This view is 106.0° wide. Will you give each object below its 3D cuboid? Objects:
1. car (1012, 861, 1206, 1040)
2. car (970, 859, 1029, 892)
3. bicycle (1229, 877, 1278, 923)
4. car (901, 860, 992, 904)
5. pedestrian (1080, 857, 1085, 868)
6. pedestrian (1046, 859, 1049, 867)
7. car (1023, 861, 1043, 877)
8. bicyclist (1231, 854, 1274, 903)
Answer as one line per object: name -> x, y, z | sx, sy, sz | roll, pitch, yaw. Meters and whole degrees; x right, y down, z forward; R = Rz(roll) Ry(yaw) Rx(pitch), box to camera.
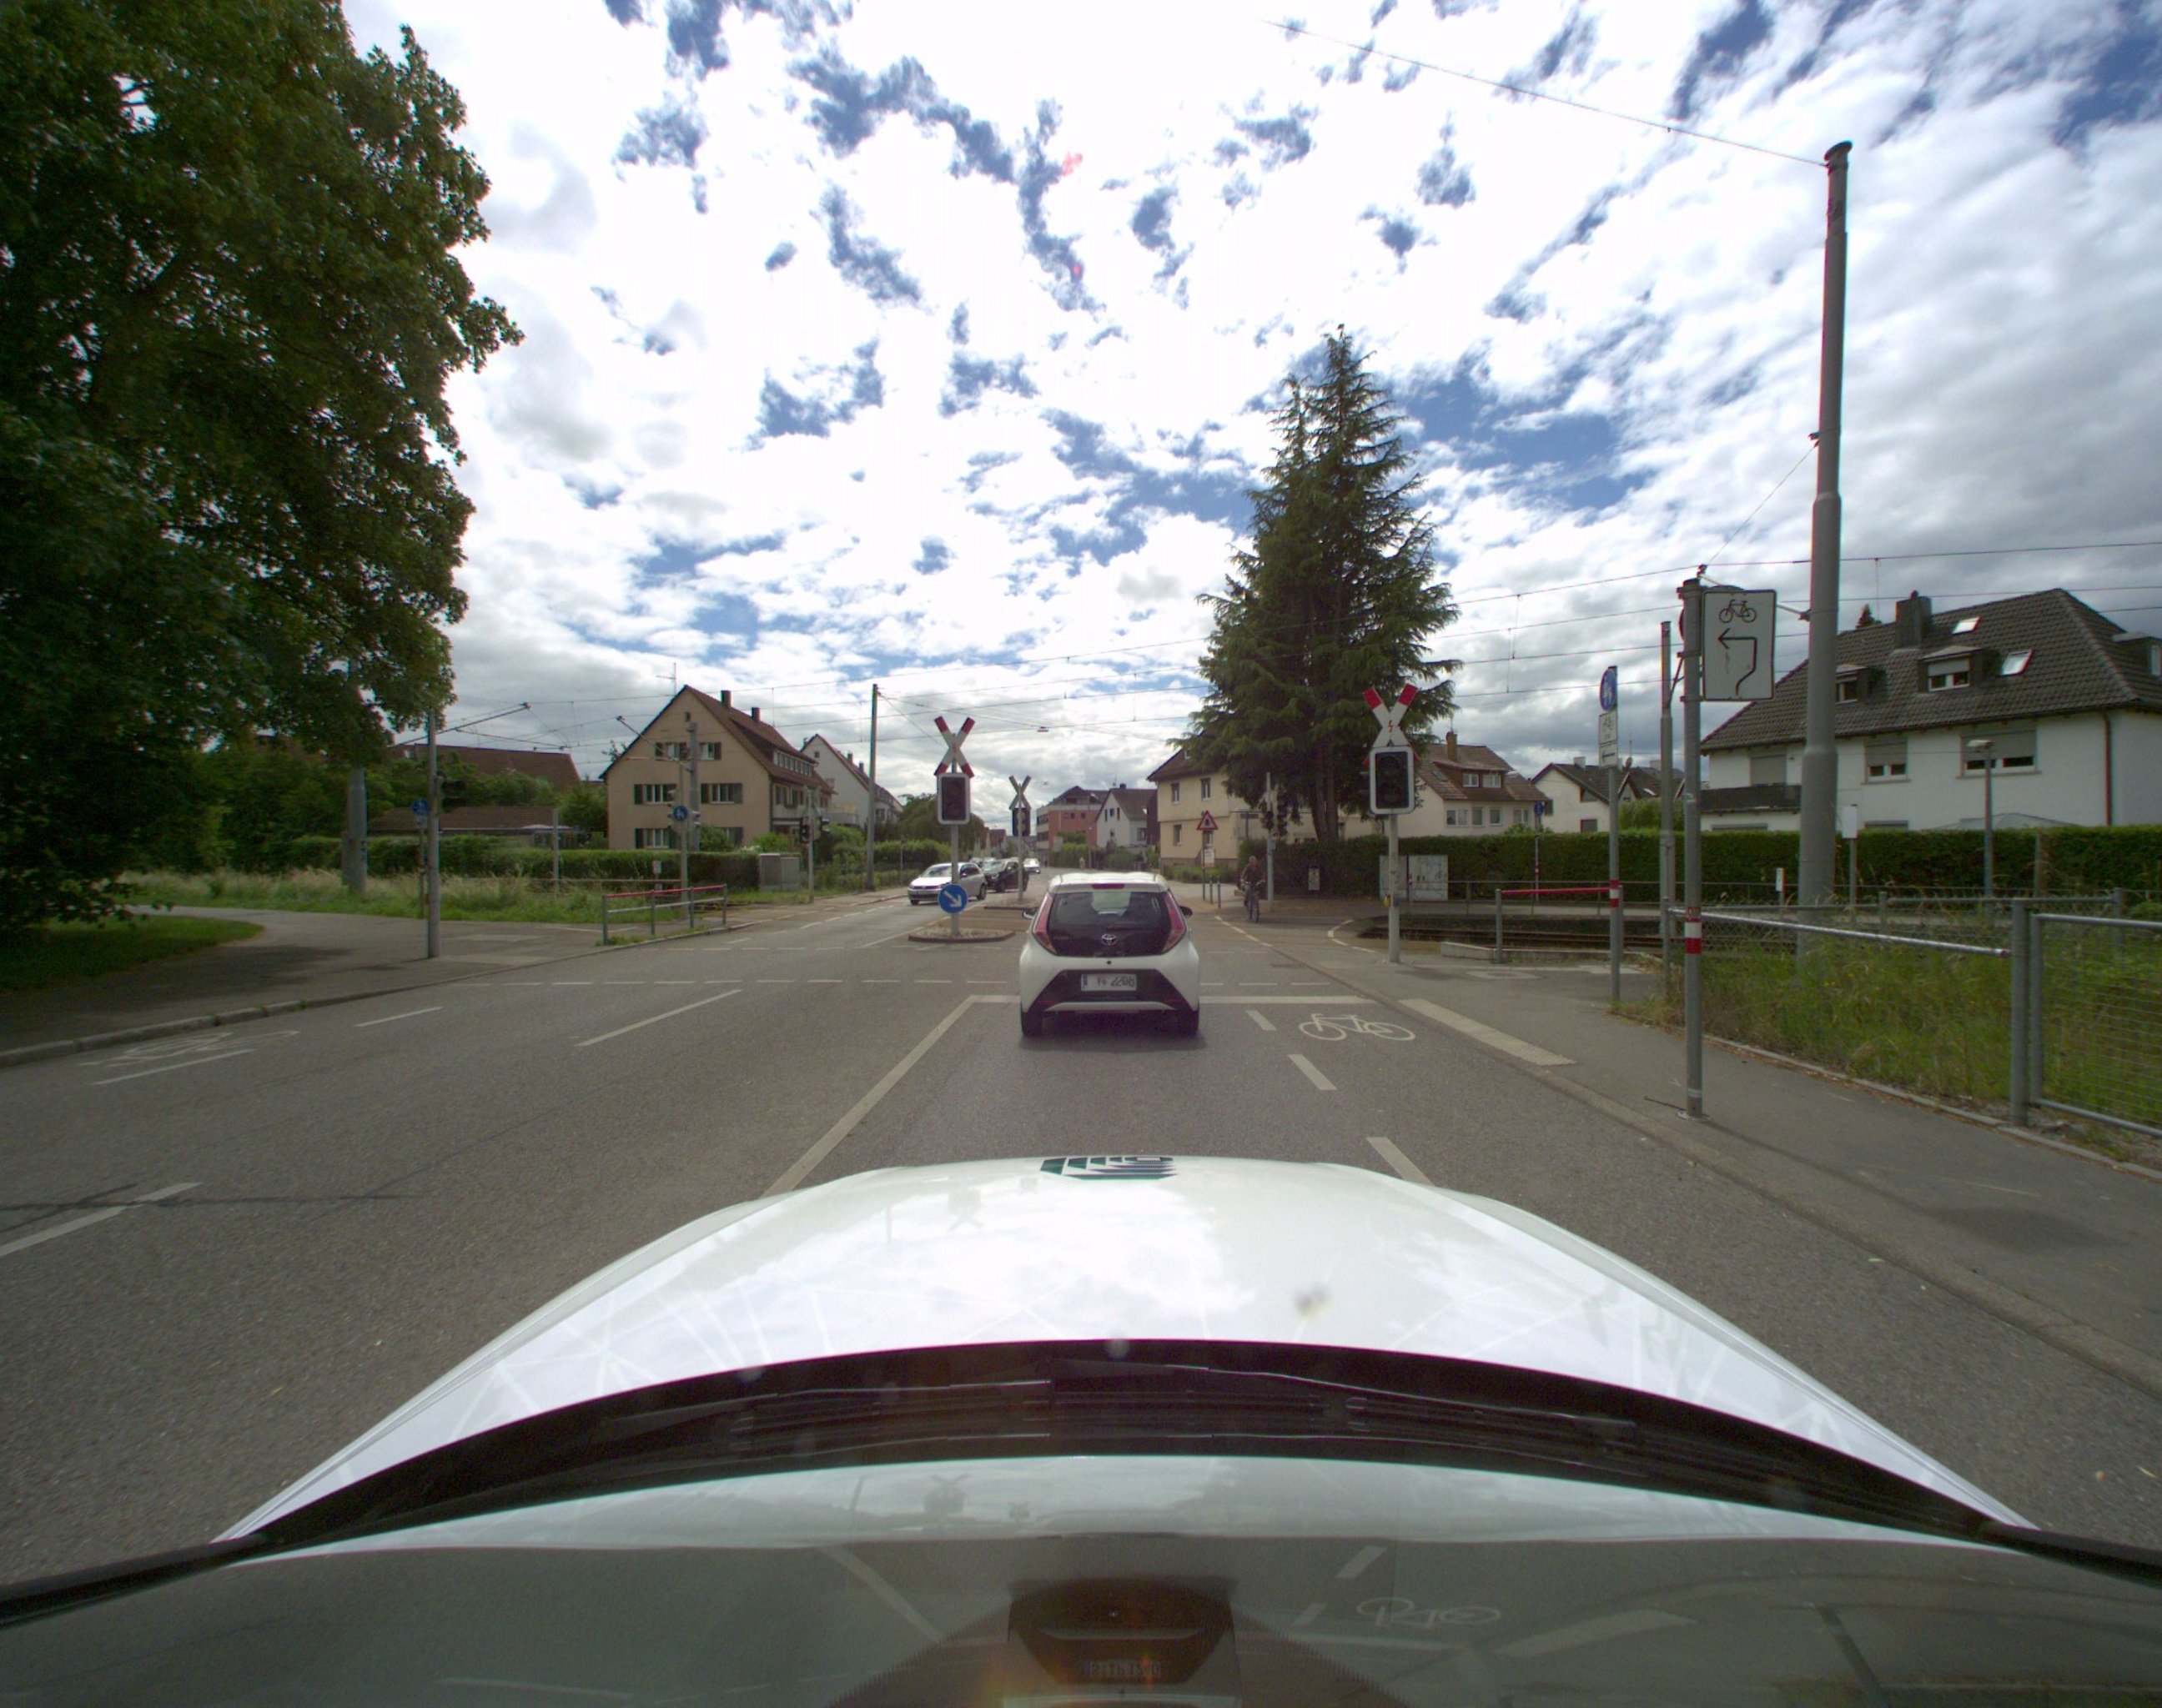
car -> 0.305, 0.850, 8.899 | 1.615, 1.486, 4.001 | -1, -1, 2
car -> -3.856, 0.990, 38.829 | 1.560, 1.510, 2.804 | -1, -1, 26
bicycle -> 4.606, 1.202, 21.913 | 0.928, 1.040, 1.916 | -1, 2, 1
car -> -4.914, 0.993, 30.280 | 1.675, 1.458, 4.087 | -1, 0, 17
pedestrian -> 0.206, 1.060, 102.608 | 0.439, 1.438, 0.410 | 0, 0, -30
pedestrian -> -5.576, 1.470, 135.077 | 0.413, 1.438, 0.436 | 0, 0, -8
car -> -4.876, 1.469, 82.090 | 1.774, 1.562, 4.158 | 0, 0, -8
bicyclist -> 4.591, 0.639, 21.845 | 0.928, 1.247, 1.103 | -1, 2, 1
